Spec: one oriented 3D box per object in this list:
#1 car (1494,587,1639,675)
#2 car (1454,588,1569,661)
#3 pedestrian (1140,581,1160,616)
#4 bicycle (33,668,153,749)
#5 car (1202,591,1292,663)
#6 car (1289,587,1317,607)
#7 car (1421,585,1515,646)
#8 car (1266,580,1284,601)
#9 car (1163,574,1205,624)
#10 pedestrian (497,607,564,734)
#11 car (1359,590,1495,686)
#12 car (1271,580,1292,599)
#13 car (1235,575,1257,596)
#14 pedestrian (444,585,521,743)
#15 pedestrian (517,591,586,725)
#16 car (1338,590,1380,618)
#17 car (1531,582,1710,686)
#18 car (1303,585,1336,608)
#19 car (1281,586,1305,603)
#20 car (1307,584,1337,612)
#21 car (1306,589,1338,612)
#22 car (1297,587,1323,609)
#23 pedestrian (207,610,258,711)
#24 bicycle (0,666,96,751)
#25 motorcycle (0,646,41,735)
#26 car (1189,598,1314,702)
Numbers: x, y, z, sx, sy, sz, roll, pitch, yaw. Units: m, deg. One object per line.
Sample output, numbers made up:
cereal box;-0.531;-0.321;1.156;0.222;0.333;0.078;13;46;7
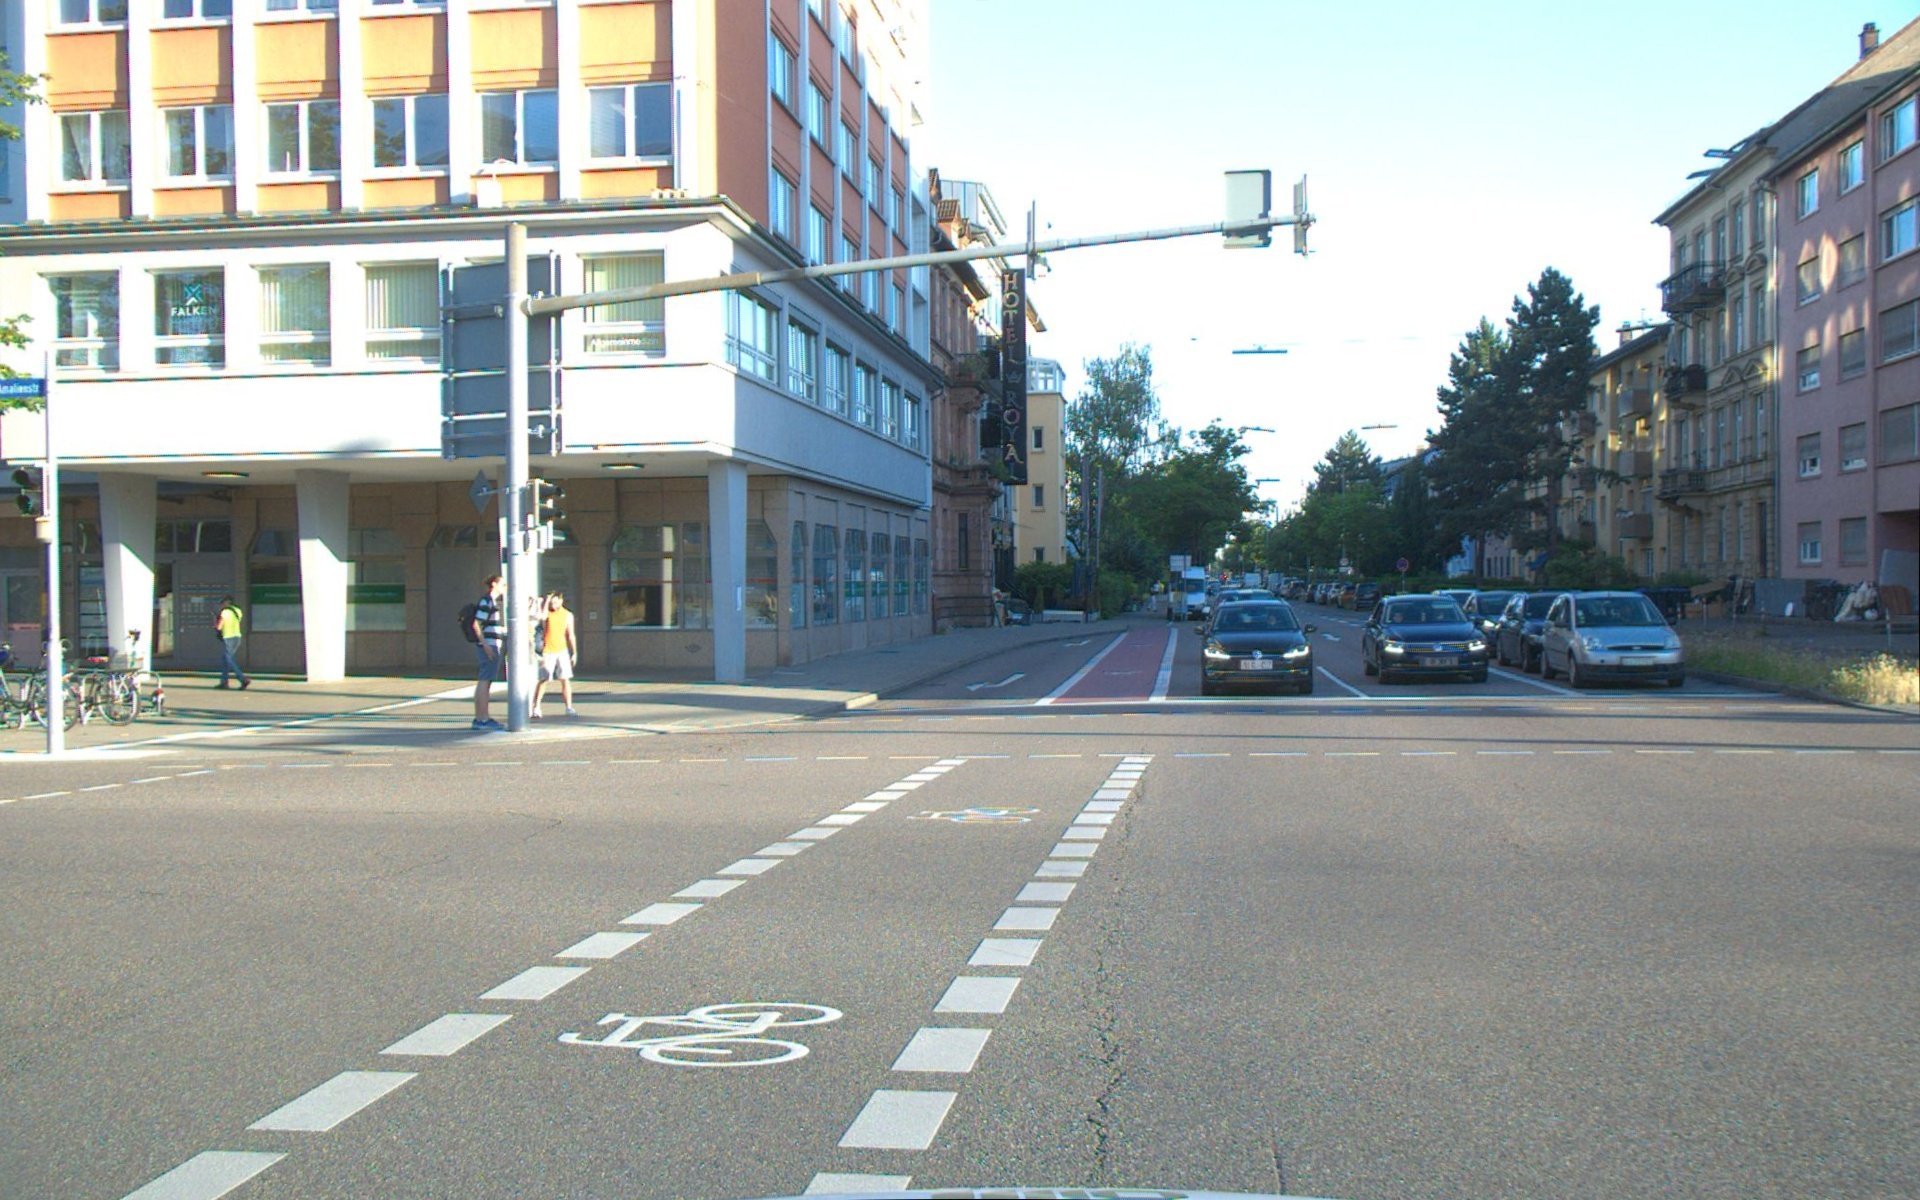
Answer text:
car;11.443;0.546;31.453;1.951;1.512;4.004;-1;1;11
car;12.382;0.513;37.357;1.951;1.512;4.004;-1;1;11
pedestrian;11.150;-0.093;97.001;1.003;2.049;0.944;-1;1;-5
bicycle;-12.205;1.527;23.290;1.523;1.094;0.395;-1;0;7
car;6.773;0.600;39.195;1.951;1.558;4.004;-1;1;9
car;27.479;-0.280;132.493;1.951;1.544;4.224;-1;0;8
car;13.467;0.381;44.062;1.951;1.512;4.004;-1;1;11
car;37.585;-1.157;197.237;1.951;2.418;4.004;-1;0;9
car;10.917;-0.081;80.425;1.951;2.365;4.224;-1;1;8
pedestrian;-5.907;0.960;22.768;0.712;1.714;0.586;-1;0;6
car;8.123;0.622;29.061;1.951;1.512;4.004;-1;1;11
car;35.311;-1.153;181.720;1.951;2.086;4.224;-1;0;8
car;35.393;-1.799;205.081;2.561;2.418;5.260;-1;0;9
pedestrian;-6.162;0.806;21.335;0.716;1.981;0.708;-1;0;-38
pedestrian;-5.768;0.812;23.381;0.696;1.850;0.752;-1;0;8
car;22.957;0.202;95.327;1.951;1.544;4.224;-1;0;8
car;10.539;0.492;26.696;1.951;1.512;4.004;-1;1;11
car;24.884;-0.265;114.717;1.951;1.544;4.224;-1;0;8
car;31.329;-0.526;155.684;1.951;1.544;4.224;-1;0;8
car;27.281;-0.192;124.713;1.951;2.032;4.224;-1;0;8
car;26.208;0.031;119.782;1.951;1.544;4.224;-1;0;8
car;30.494;-0.190;144.073;1.951;1.865;4.224;-1;0;8
pedestrian;-13.447;1.114;30.583;0.625;1.822;0.586;-1;0;6
bicycle;-12.596;1.449;22.063;1.947;1.094;0.469;-1;0;7
motorcycle;-15.096;1.420;25.533;0.532;1.341;1.837;-1;1;9
car;4.786;0.760;27.004;1.840;1.512;4.004;-1;1;11
